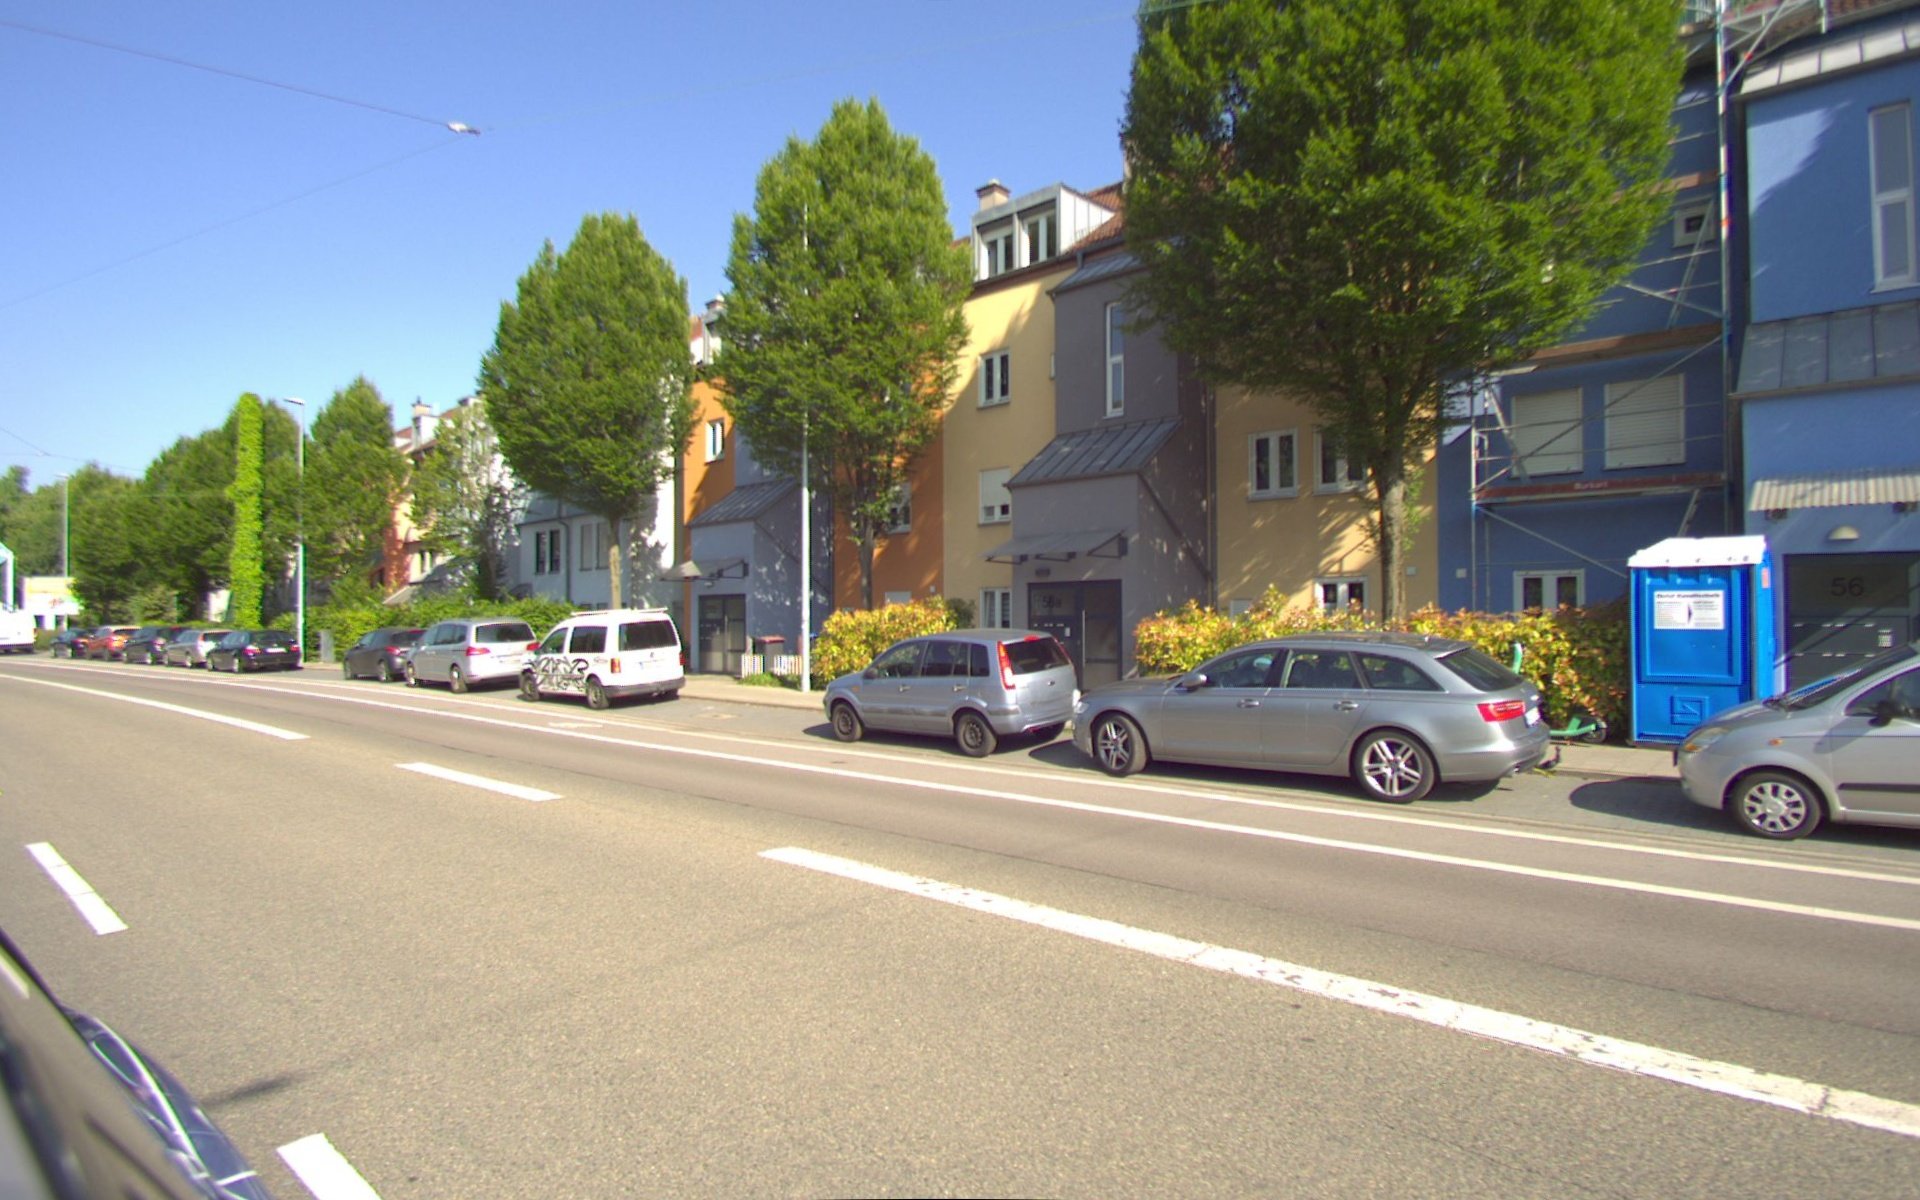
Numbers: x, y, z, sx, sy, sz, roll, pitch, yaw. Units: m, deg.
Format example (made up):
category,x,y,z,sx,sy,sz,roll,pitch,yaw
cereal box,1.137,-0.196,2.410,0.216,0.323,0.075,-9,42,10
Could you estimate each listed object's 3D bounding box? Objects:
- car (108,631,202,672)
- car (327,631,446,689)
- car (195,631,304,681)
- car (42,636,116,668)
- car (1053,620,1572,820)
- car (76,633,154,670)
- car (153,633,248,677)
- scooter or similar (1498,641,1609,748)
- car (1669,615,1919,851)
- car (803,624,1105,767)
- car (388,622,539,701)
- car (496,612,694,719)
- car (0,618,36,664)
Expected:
category,x,y,z,sx,sy,sz,roll,pitch,yaw
car,-33.955,2.140,42.659,4.423,1.586,1.749,-1,-1,32
car,-16.270,1.653,28.637,4.055,1.477,1.599,-2,0,40
car,-25.065,1.935,35.642,4.904,1.556,1.848,-2,0,39
car,-42.957,2.512,49.322,4.702,1.435,1.638,-2,-2,35
car,3.447,1.055,10.507,4.751,1.522,1.732,-2,2,40
car,-38.618,2.306,46.236,4.153,1.586,1.747,-1,-1,36
car,-29.648,2.093,39.472,4.836,1.482,1.697,-1,0,37
scooter or similar,6.760,1.055,11.539,1.041,1.162,0.291,-2,-2,38
car,7.334,0.911,7.249,3.508,1.506,1.585,-2,2,42
car,-0.189,1.182,13.913,3.981,1.550,1.744,-2,3,43
car,-12.293,1.444,24.896,4.823,1.713,1.650,-2,0,42
car,-7.618,1.267,20.904,4.577,1.859,1.745,-2,2,41
car,-55.255,2.337,57.802,6.164,2.476,2.135,-2,0,33
